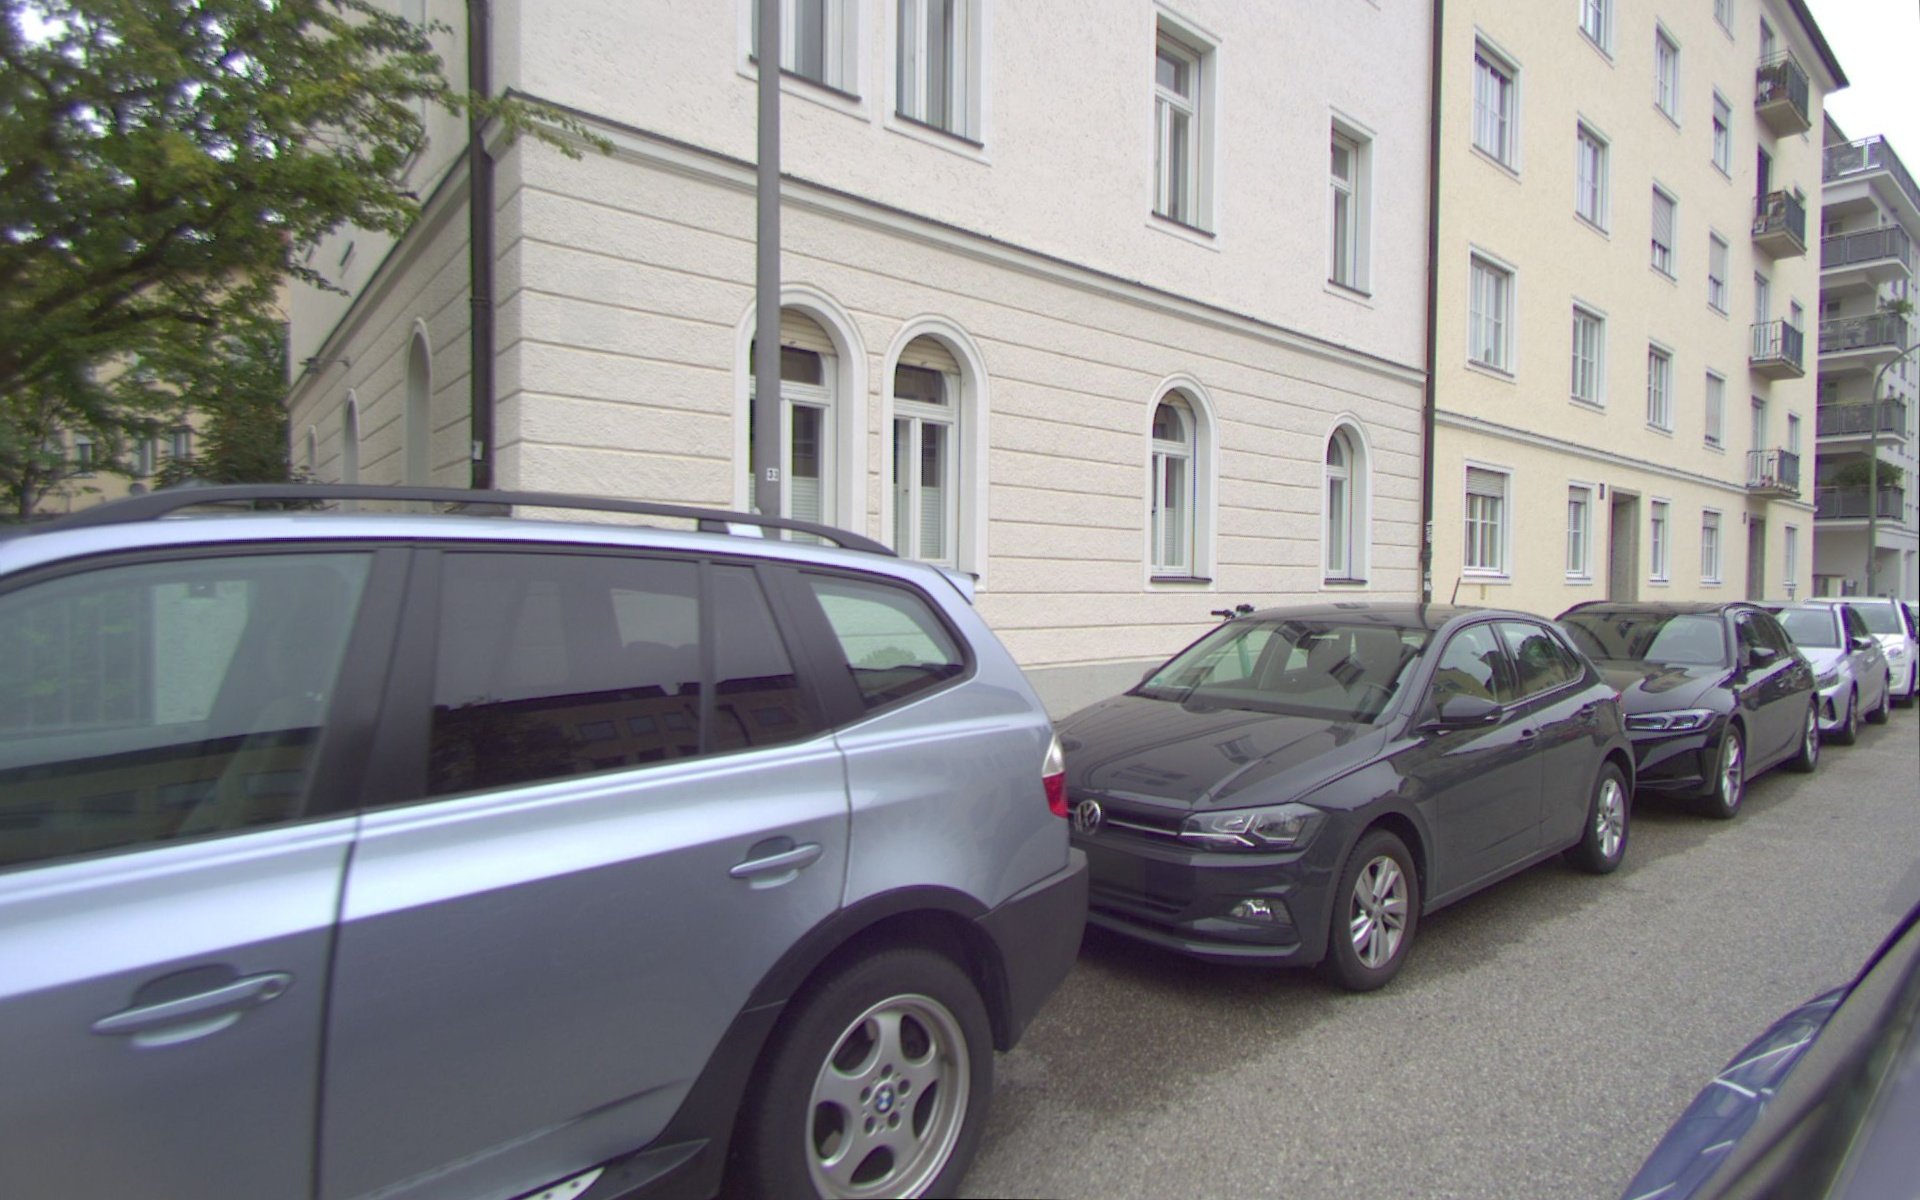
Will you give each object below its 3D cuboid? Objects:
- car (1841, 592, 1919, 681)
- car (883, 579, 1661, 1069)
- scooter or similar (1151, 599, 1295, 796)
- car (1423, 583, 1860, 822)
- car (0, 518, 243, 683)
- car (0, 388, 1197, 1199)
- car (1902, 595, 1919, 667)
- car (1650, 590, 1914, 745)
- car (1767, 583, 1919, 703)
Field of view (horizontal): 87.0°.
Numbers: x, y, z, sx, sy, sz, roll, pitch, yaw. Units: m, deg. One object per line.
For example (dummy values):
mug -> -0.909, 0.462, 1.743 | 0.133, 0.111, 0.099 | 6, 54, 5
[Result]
car -> 17.101, 0.592, 17.903 | 4.218, 1.448, 1.728 | 0, 0, -41
car -> 1.778, 0.665, 5.036 | 4.011, 1.468, 1.831 | 0, 0, -40
scooter or similar -> 1.812, 0.623, 6.934 | 1.029, 1.246, 0.428 | 0, 0, -40
car -> 5.839, 0.622, 8.424 | 4.595, 1.468, 1.879 | 0, 0, -41
car -> -9.343, -0.002, 9.646 | 3.931, 1.476, 1.860 | -2, 2, -41
car -> -1.575, 0.562, 2.164 | 4.420, 1.684, 1.849 | 0, 1, -42
car -> 21.551, 0.634, 21.501 | 4.534, 1.448, 1.776 | 0, 0, -41
car -> 9.558, 0.634, 11.650 | 4.115, 1.468, 1.727 | 0, 0, -42
car -> 13.447, 0.552, 15.054 | 3.925, 1.563, 1.653 | 0, 0, -42
